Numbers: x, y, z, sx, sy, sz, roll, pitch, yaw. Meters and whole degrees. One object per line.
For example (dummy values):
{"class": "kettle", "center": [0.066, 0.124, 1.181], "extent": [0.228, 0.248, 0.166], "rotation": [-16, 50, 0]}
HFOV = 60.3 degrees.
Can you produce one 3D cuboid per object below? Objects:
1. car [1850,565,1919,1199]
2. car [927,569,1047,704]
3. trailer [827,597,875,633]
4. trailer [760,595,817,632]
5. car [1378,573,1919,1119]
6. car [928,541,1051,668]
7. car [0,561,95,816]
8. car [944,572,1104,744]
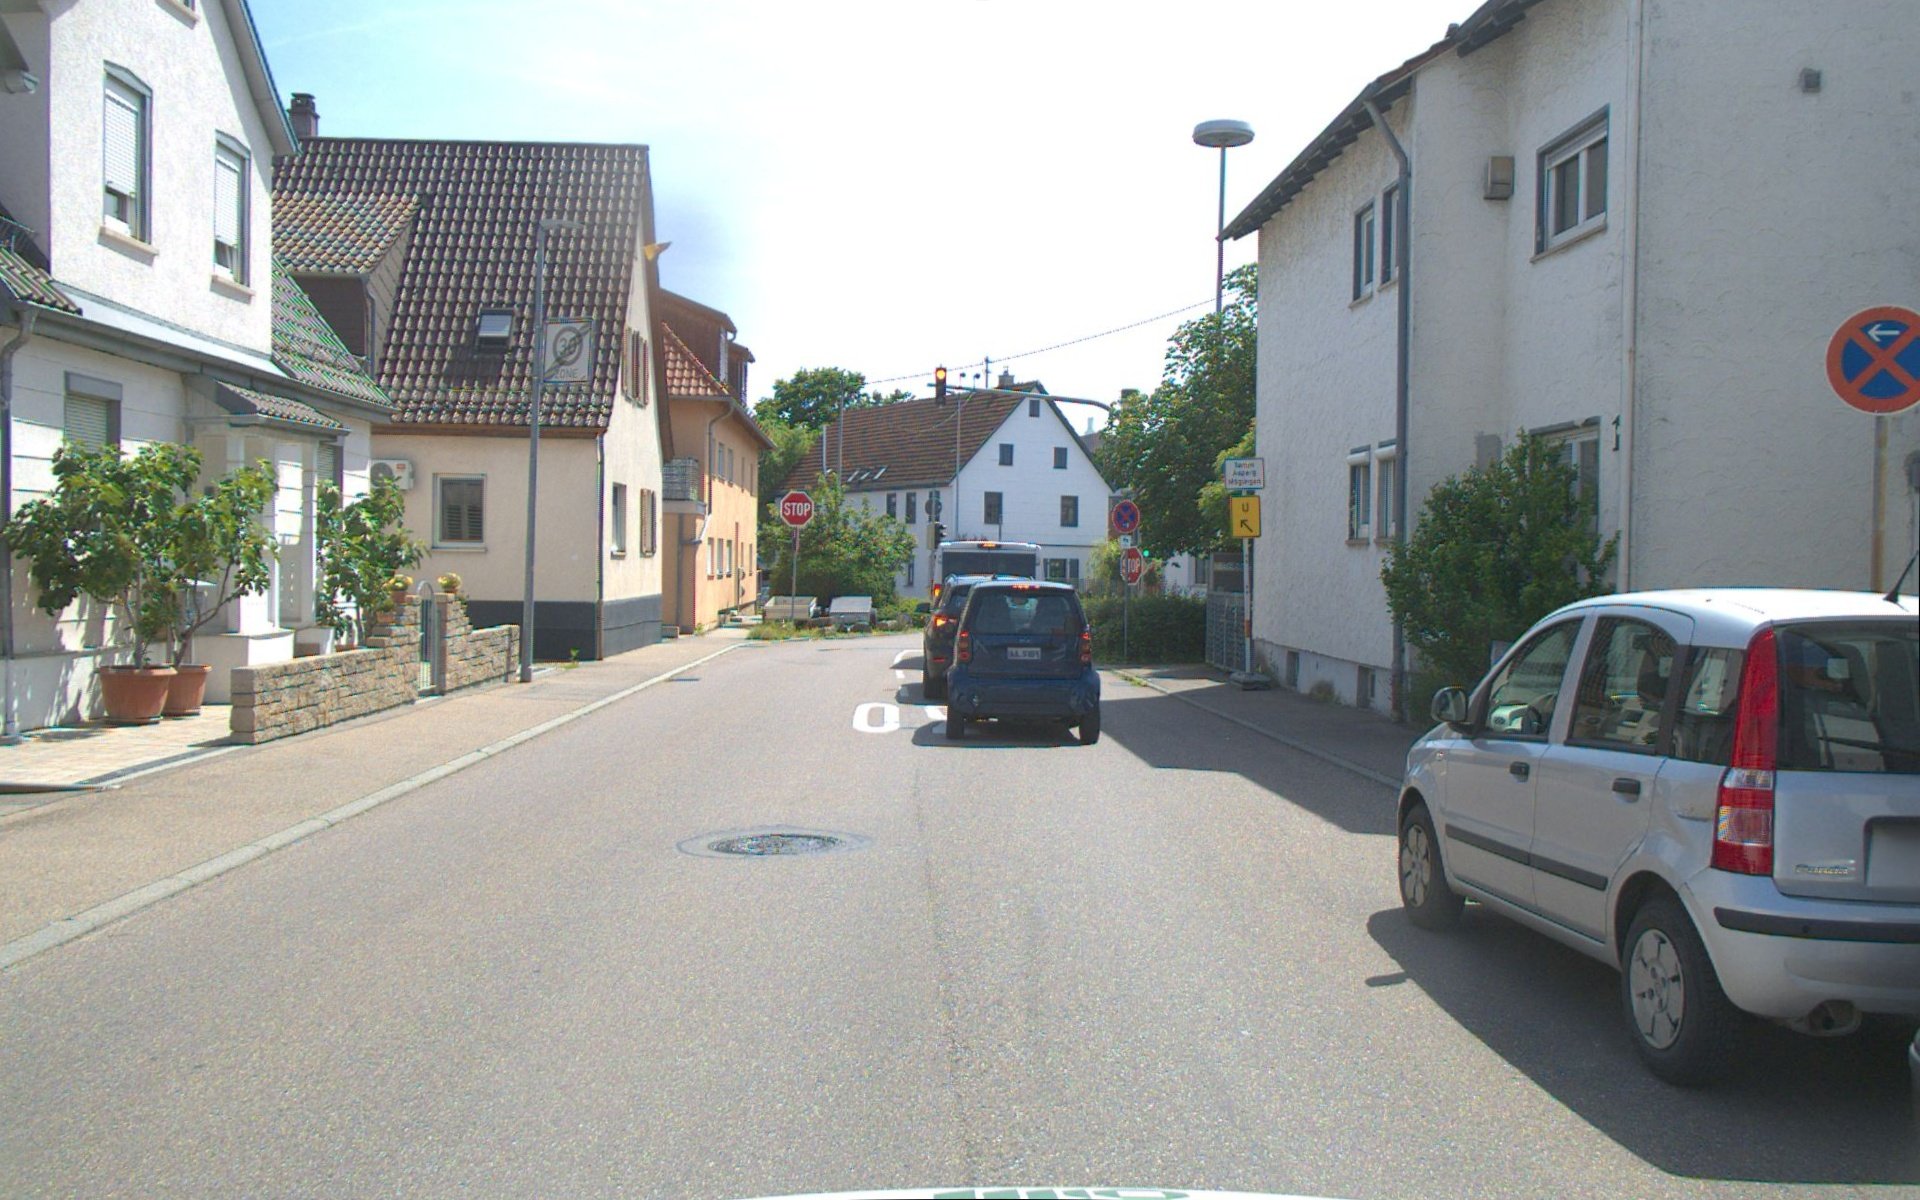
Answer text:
{"class": "car", "center": [2.981, 0.746, 2.184], "extent": [1.536, 1.572, 3.446], "rotation": [1, 0, -5]}
{"class": "car", "center": [0.361, 0.436, 22.105], "extent": [1.484, 1.652, 3.185], "rotation": [0, 1, 1]}
{"class": "trailer", "center": [-3.062, 0.417, 46.625], "extent": [1.284, 0.987, 0.933], "rotation": [1, 0, -1]}
{"class": "trailer", "center": [-4.847, 0.382, 46.783], "extent": [1.471, 0.943, 1.012], "rotation": [3, 0, -1]}
{"class": "car", "center": [2.876, 0.692, 6.391], "extent": [1.468, 1.539, 3.360], "rotation": [1, 0, -4]}
{"class": "car", "center": [0.635, 0.051, 31.188], "extent": [2.084, 2.196, 4.738], "rotation": [1, 1, 3]}
{"class": "car", "center": [-7.561, 0.506, 9.986], "extent": [3.758, 1.507, 1.702], "rotation": [0, 0, 0]}
{"class": "car", "center": [0.639, 0.537, 17.370], "extent": [1.484, 1.594, 3.185], "rotation": [2, 1, 1]}
